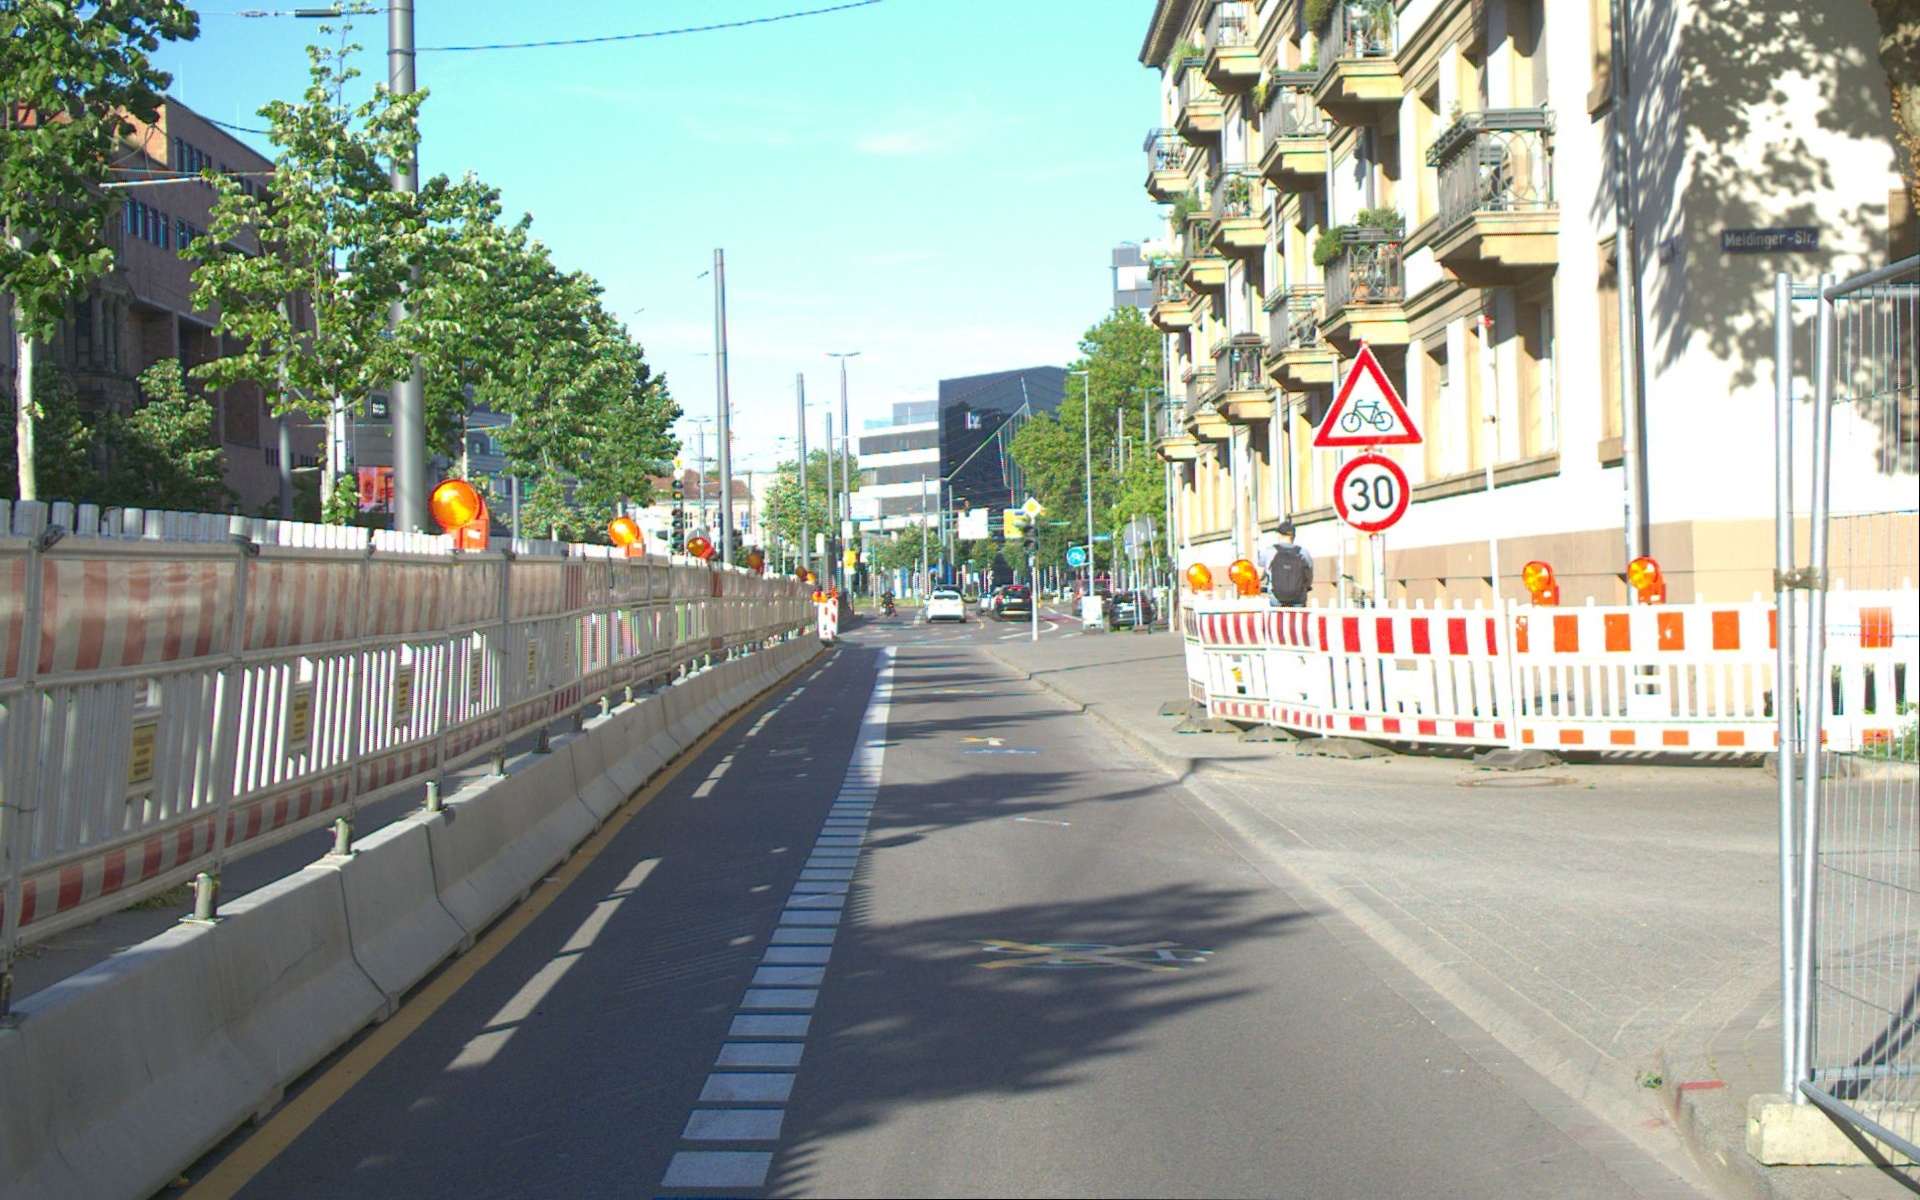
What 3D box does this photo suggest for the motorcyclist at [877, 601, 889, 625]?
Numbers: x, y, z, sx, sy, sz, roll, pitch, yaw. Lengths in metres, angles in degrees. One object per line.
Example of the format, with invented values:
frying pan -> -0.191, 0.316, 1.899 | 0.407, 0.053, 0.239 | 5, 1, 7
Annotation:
motorcyclist -> -4.141, 0.681, 185.453 | 0.631, 1.258, 0.606 | -1, 0, -1

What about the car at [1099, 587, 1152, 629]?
car -> 6.555, 0.321, 136.410 | 1.883, 1.584, 3.668 | -1, 0, 0

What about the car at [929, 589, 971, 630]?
car -> -0.467, 0.429, 159.168 | 1.883, 1.836, 3.668 | -1, 0, -1

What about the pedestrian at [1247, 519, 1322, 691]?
pedestrian -> 3.342, 0.052, 35.475 | 0.669, 1.740, 0.778 | -1, 0, 1

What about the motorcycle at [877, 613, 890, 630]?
motorcycle -> -4.129, 1.145, 185.381 | 0.631, 0.893, 1.621 | -1, 0, -1

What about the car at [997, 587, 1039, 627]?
car -> 2.782, 0.325, 165.581 | 1.883, 1.836, 3.668 | -1, 0, -1

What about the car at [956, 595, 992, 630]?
car -> 0.779, 0.689, 190.511 | 1.883, 1.836, 3.668 | -1, 0, -1
